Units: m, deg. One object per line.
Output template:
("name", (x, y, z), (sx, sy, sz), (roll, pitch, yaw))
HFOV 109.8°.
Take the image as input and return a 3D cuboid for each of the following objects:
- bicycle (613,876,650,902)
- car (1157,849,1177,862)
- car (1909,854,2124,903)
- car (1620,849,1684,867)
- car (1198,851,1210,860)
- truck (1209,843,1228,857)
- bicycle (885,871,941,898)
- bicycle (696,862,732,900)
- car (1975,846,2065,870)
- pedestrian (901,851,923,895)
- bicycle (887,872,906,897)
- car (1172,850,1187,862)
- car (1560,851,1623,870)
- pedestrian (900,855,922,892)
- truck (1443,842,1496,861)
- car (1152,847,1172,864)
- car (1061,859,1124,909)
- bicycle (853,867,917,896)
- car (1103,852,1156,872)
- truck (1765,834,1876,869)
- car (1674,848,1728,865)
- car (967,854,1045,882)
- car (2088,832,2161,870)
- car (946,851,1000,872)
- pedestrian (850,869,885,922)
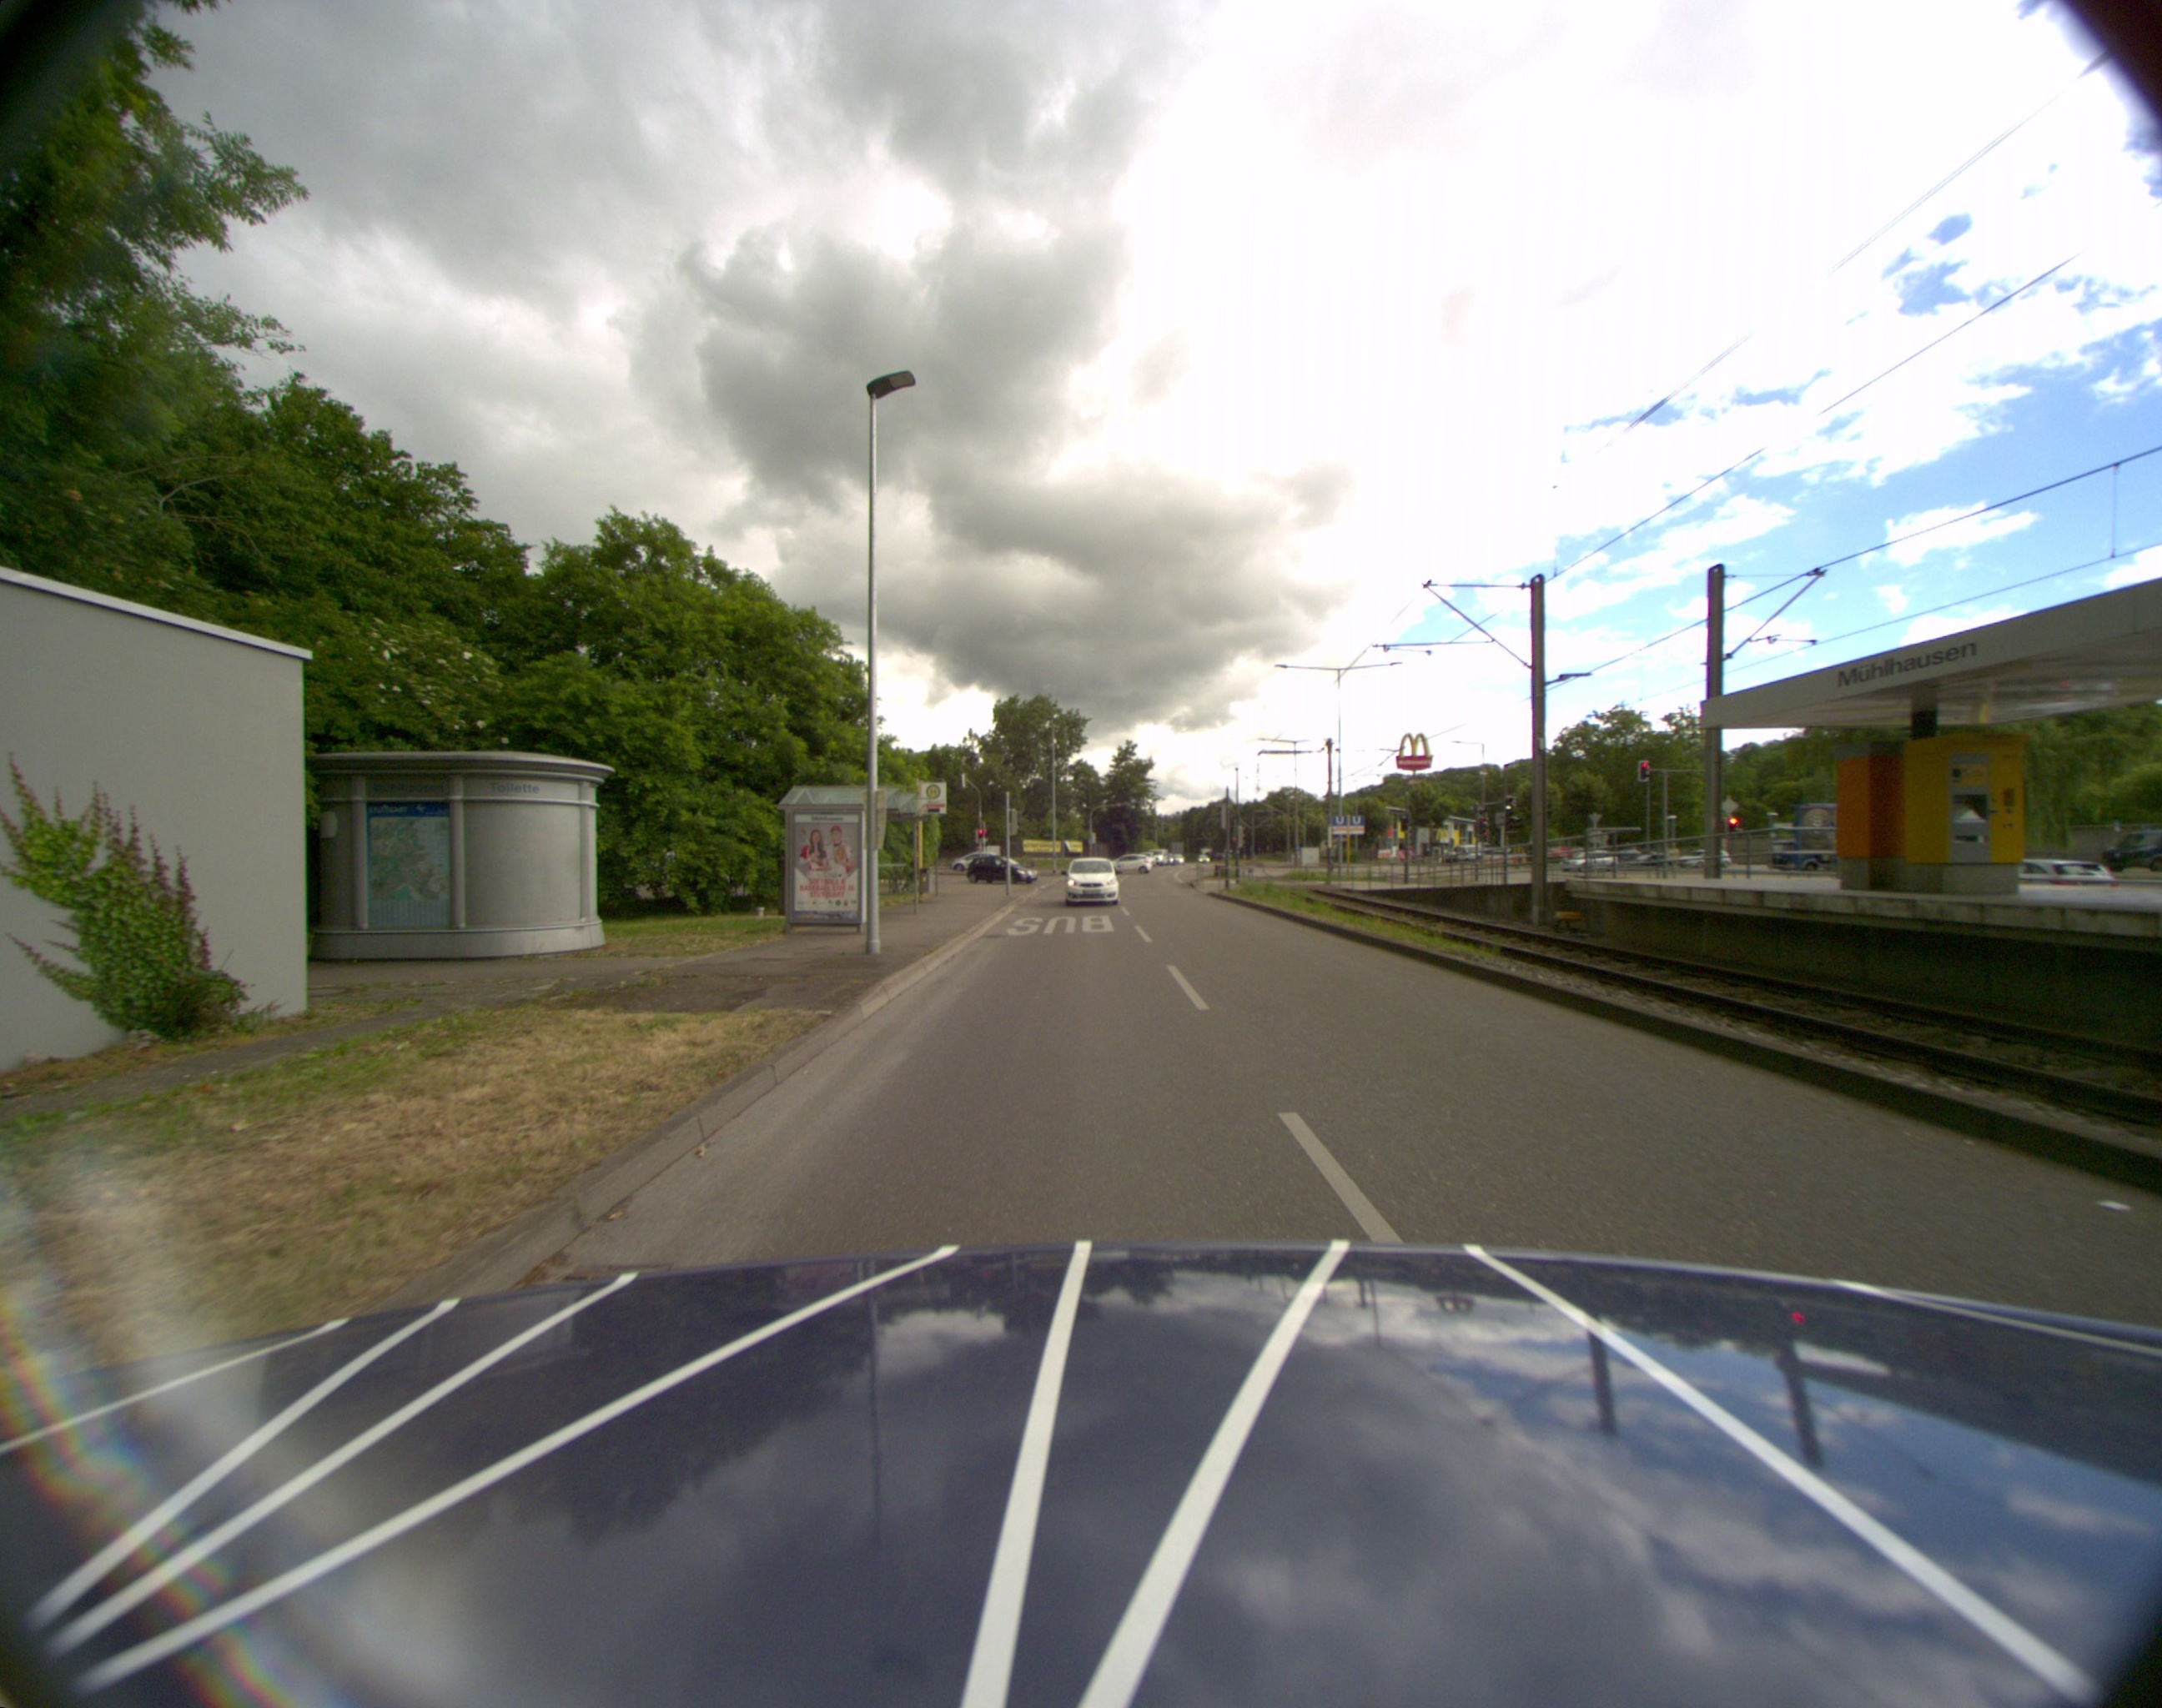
("bicycle", (-16.563, 1.283, 28.015), (0.478, 0.851, 1.657), (-1, 0, -4))
("car", (10.882, 0.189, 95.517), (1.996, 1.527, 4.004), (1, 1, 13))
("car", (28.075, 0.681, 23.042), (1.617, 1.342, 4.030), (0, 0, 1))
("car", (48.197, 0.329, 64.183), (4.283, 1.423, 1.795), (0, 1, -8))
("car", (21.976, 0.335, 135.604), (1.965, 1.543, 4.003), (1, 1, 9))
("truck", (34.827, -0.974, 192.394), (3.435, 3.539, 8.699), (1, 1, 2))
("bicycle", (-5.948, 1.092, 26.938), (1.871, 0.919, 0.545), (0, 1, 2))
("bicycle", (-13.847, 0.984, 28.711), (0.646, 1.364, 1.657), (-1, 0, -4))
("car", (73.986, 0.279, 59.924), (2.001, 1.830, 3.994), (-1, 0, -17))
("pedestrian", (-6.811, 0.757, 30.583), (0.691, 1.744, 0.418), (-2, 2, -40))
("bicycle", (-6.985, 1.151, 28.844), (0.524, 0.900, 1.851), (1, -1, -9))
("car", (13.652, 0.241, 105.252), (1.829, 1.543, 4.003), (1, 1, 11))
("car", (42.526, 0.525, 63.264), (4.419, 1.423, 1.794), (-1, 1, -12))
("pedestrian", (-7.114, 0.796, 31.857), (0.755, 1.505, 0.671), (1, 1, 0))
("truck", (41.638, -0.297, 81.665), (2.599, 1.894, 6.197), (1, 1, 1))
("car", (9.312, 0.166, 87.191), (1.807, 1.814, 4.004), (0, 0, 13))
("car", (0.449, 0.910, 24.553), (1.672, 1.439, 3.606), (-1, 0, 7))
("bicycle", (-6.572, 0.933, 25.486), (2.040, 0.934, 0.592), (-1, 0, 15))
("car", (3.756, 0.610, 58.975), (3.821, 1.446, 1.634), (0, 1, 17))
("truck", (54.815, -0.184, 56.421), (5.820, 2.480, 2.387), (0, 1, 2))
("car", (56.048, 0.207, 68.721), (3.640, 1.545, 1.727), (0, 1, -4))
("car", (-4.301, 0.793, 43.631), (4.175, 1.522, 1.725), (0, 1, 27))
("car", (59.411, -0.165, 42.209), (4.378, 2.040, 1.846), (1, 1, 0))
("car", (-8.537, 0.590, 60.052), (4.123, 1.631, 1.749), (0, 1, -5))
("pedestrian", (-4.769, 0.921, 16.984), (0.602, 1.151, 0.546), (1, 1, 1))
